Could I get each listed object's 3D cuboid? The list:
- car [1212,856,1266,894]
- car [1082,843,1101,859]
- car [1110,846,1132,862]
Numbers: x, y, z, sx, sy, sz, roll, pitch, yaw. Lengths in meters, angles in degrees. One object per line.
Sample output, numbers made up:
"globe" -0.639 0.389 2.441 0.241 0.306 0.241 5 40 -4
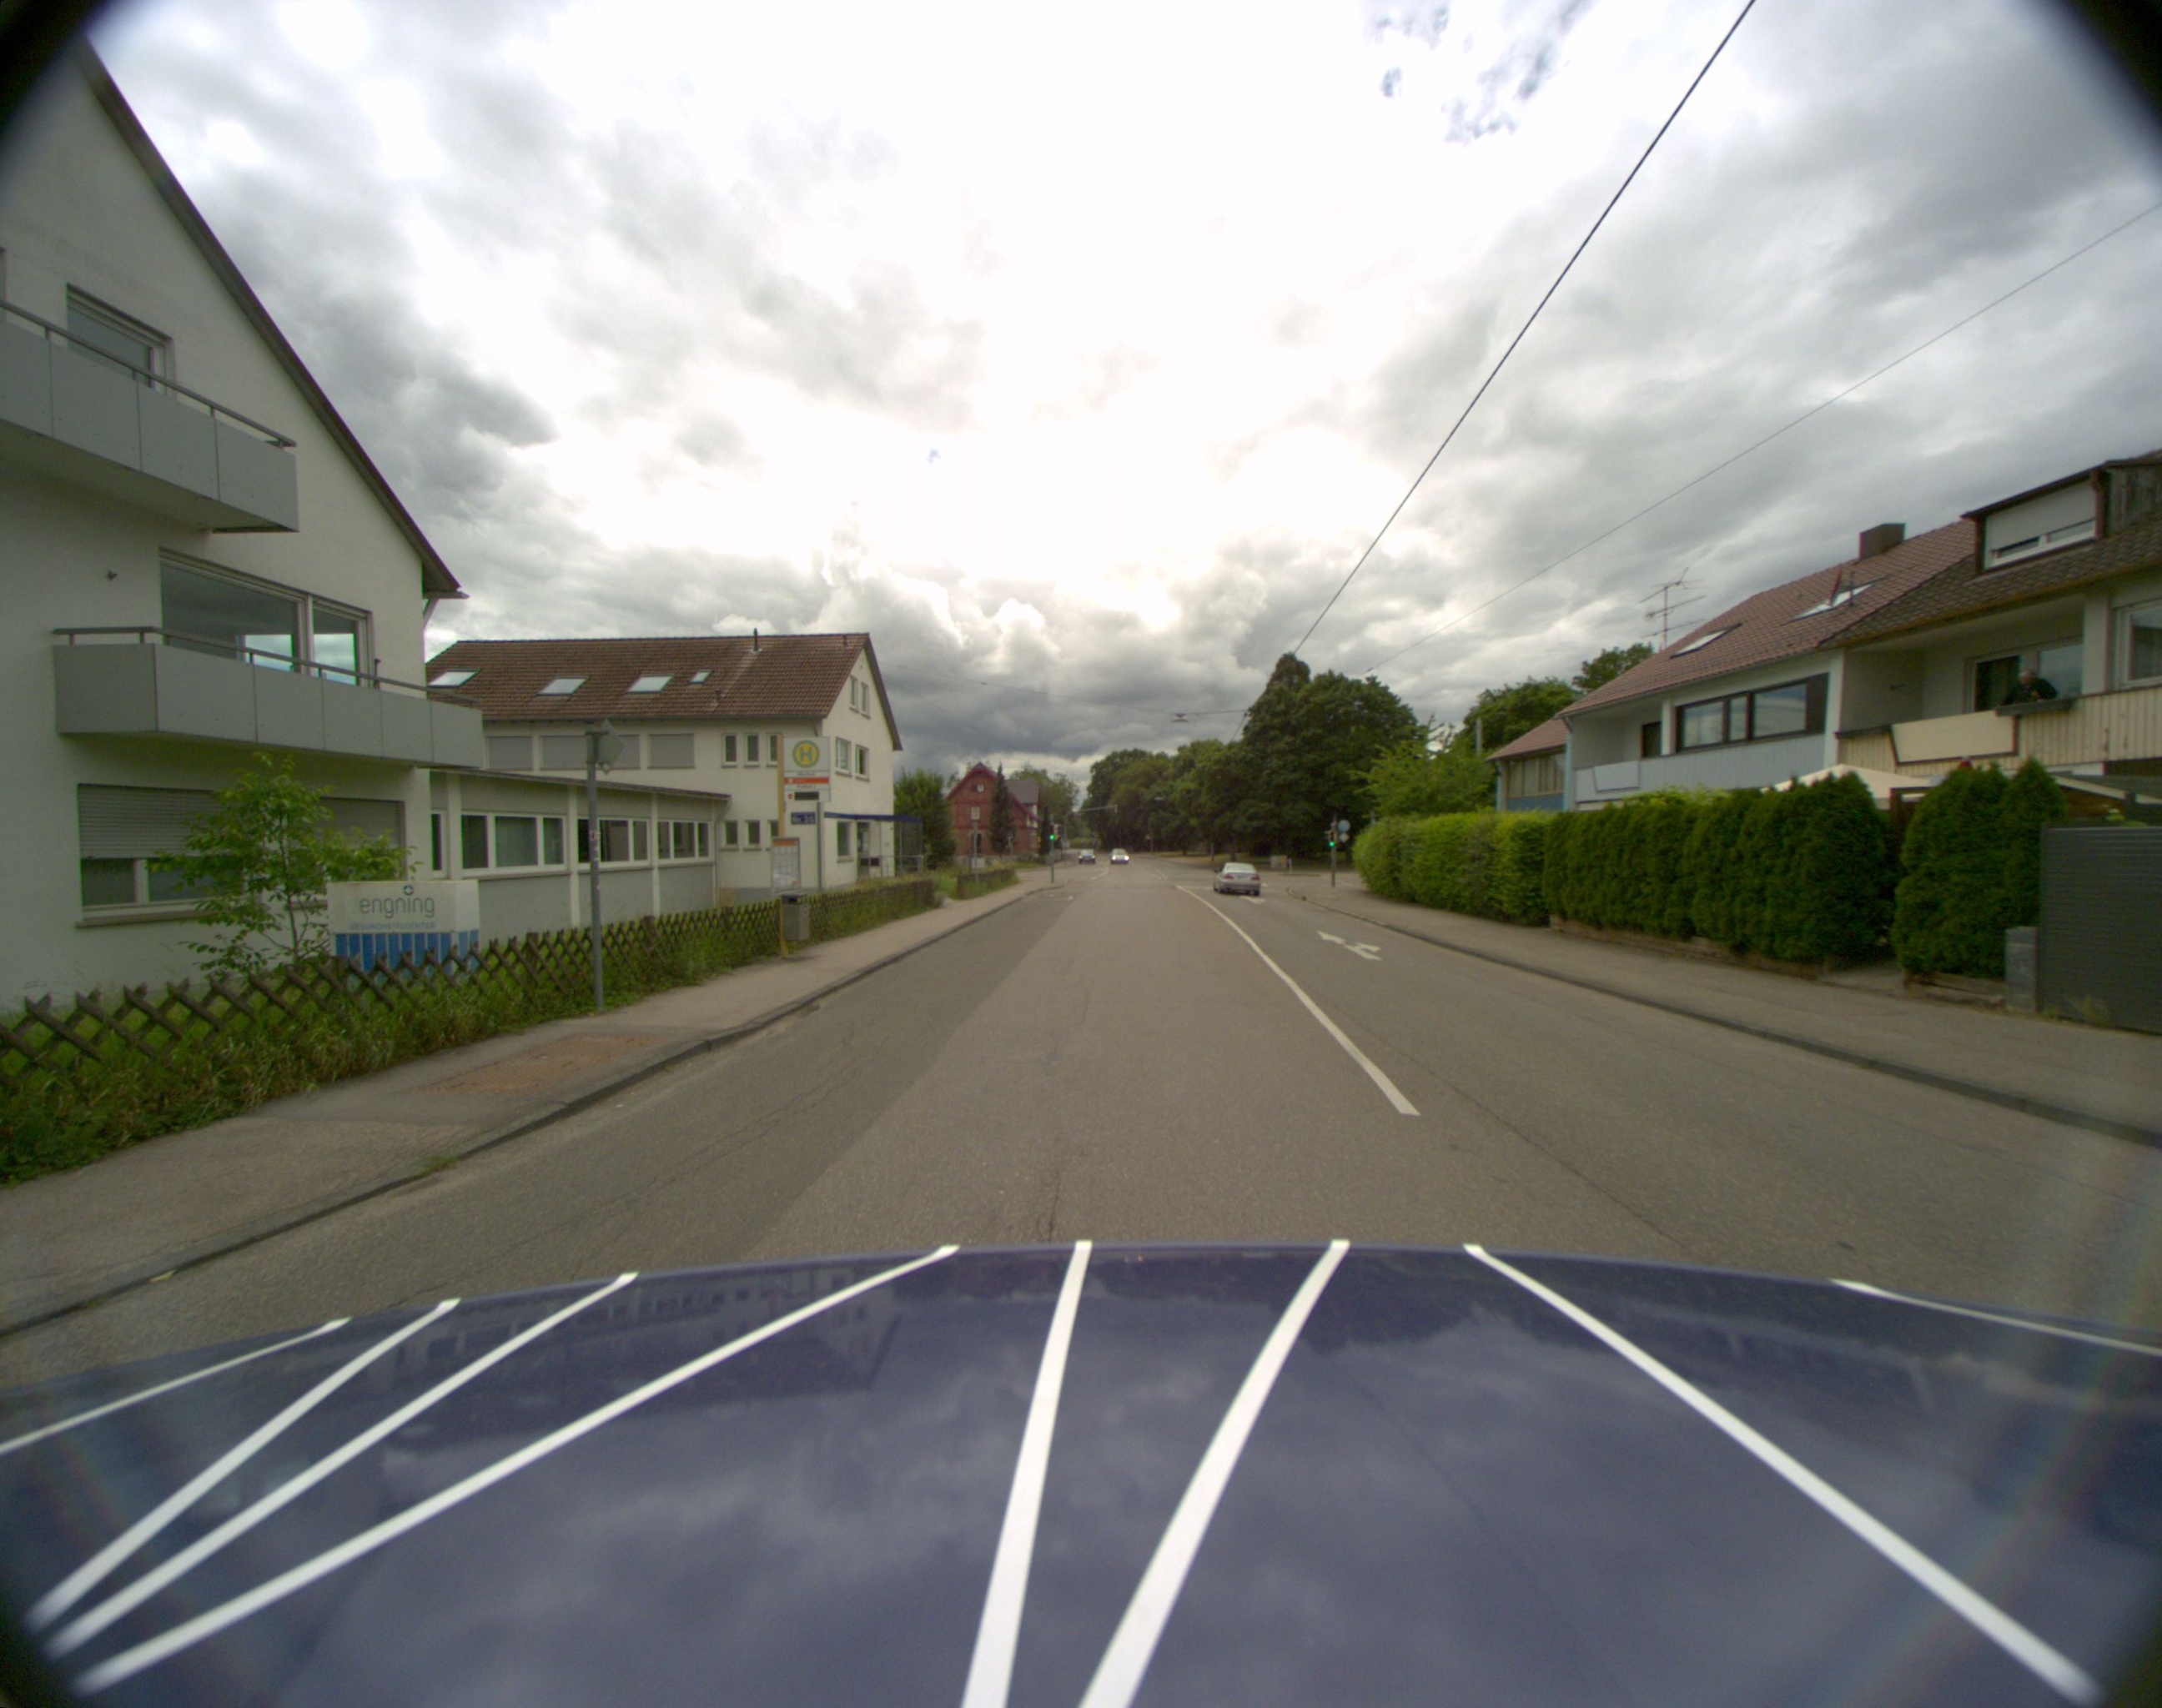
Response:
"car" 6.912 0.877 33.613 1.716 1.346 4.084 5 1 4
"car" 1.167 -0.323 82.995 1.926 1.510 3.998 -1 3 2
"car" 4.239 0.008 80.629 1.780 1.510 3.555 -2 2 -5
